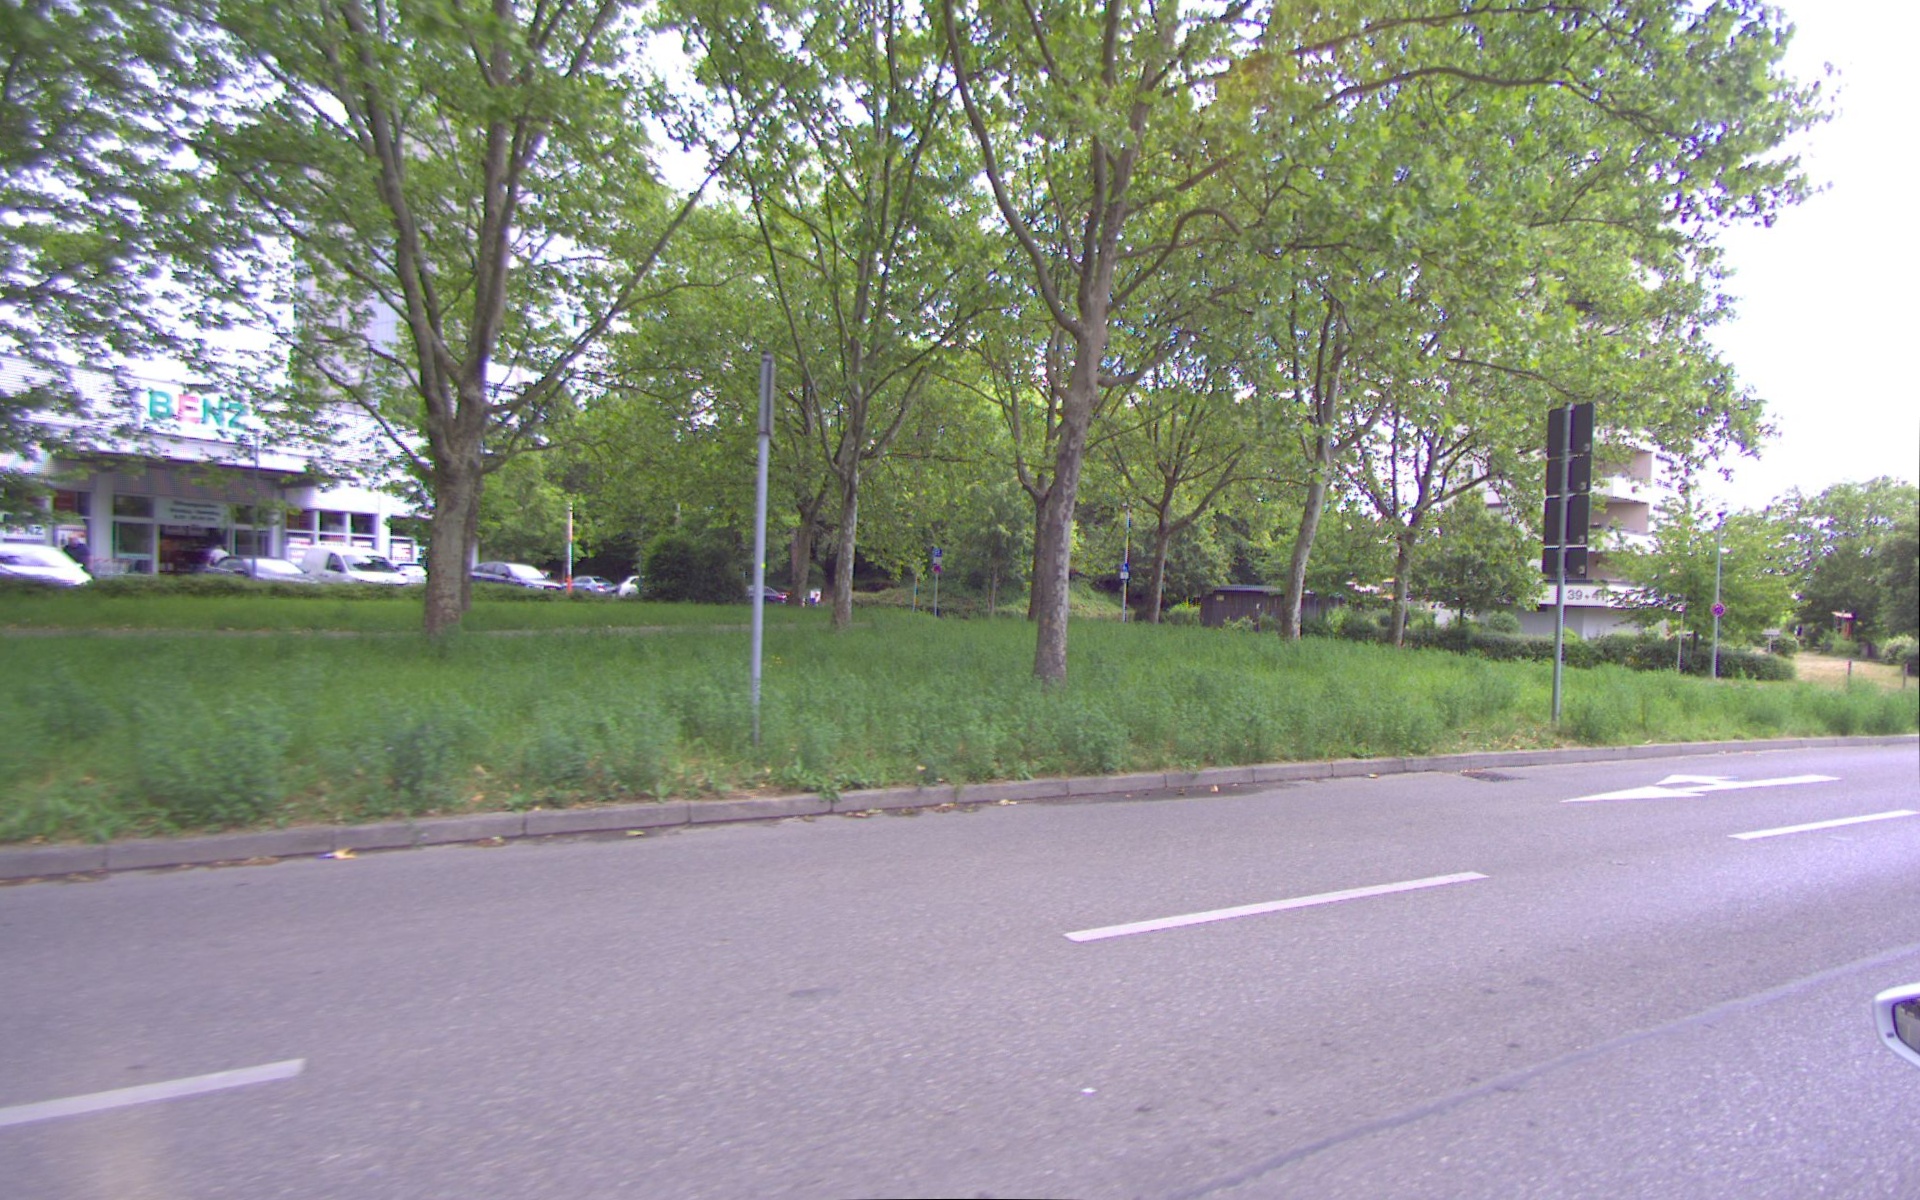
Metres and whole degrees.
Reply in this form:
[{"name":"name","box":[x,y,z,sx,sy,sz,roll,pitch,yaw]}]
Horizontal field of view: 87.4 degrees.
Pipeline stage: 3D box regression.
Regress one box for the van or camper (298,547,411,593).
[{"name":"van or camper","box":[-19.305,-0.943,31.974,3.708,1.374,1.515,1,0,31]}]

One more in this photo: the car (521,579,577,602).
[{"name":"car","box":[-26.342,-0.608,64.373,3.252,1.338,1.598,3,0,28]}]

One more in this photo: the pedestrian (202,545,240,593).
[{"name":"pedestrian","box":[-29.781,-1.245,40.499,1.061,1.896,1.053,1,0,-26]}]

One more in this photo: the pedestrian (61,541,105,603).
[{"name":"pedestrian","box":[-23.486,-0.734,26.926,0.788,1.607,0.791,1,0,-35]}]

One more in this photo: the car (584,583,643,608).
[{"name":"car","box":[-21.284,-0.268,61.726,3.252,1.338,1.598,3,0,28]}]

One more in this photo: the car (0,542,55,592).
[{"name":"car","box":[-31.026,-1.051,32.595,4.201,1.520,1.727,1,0,37]}]

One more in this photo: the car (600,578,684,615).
[{"name":"car","box":[-13.962,-0.164,44.066,3.685,1.520,1.727,1,0,37]}]

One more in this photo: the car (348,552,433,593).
[{"name":"car","box":[-24.829,-1.198,43.771,3.756,1.656,1.668,3,1,34]}]

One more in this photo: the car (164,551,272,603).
[{"name":"car","box":[-21.450,-0.651,29.016,3.351,1.423,1.480,1,0,34]}]

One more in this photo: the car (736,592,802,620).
[{"name":"car","box":[-10.480,0.307,55.134,3.252,1.338,1.598,3,0,28]}]

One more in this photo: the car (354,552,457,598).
[{"name":"car","box":[-19.118,-0.835,34.570,3.825,1.485,1.481,1,0,33]}]

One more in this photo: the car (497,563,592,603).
[{"name":"car","box":[-15.390,-0.638,37.166,3.192,1.272,1.691,3,0,32]}]

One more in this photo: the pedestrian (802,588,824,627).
[{"name":"pedestrian","box":[-7.746,0.407,52.967,0.968,1.976,1.083,3,0,-7]}]

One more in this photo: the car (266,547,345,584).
[{"name":"car","box":[-26.783,-1.374,41.100,3.350,1.423,1.481,1,0,33]}]
